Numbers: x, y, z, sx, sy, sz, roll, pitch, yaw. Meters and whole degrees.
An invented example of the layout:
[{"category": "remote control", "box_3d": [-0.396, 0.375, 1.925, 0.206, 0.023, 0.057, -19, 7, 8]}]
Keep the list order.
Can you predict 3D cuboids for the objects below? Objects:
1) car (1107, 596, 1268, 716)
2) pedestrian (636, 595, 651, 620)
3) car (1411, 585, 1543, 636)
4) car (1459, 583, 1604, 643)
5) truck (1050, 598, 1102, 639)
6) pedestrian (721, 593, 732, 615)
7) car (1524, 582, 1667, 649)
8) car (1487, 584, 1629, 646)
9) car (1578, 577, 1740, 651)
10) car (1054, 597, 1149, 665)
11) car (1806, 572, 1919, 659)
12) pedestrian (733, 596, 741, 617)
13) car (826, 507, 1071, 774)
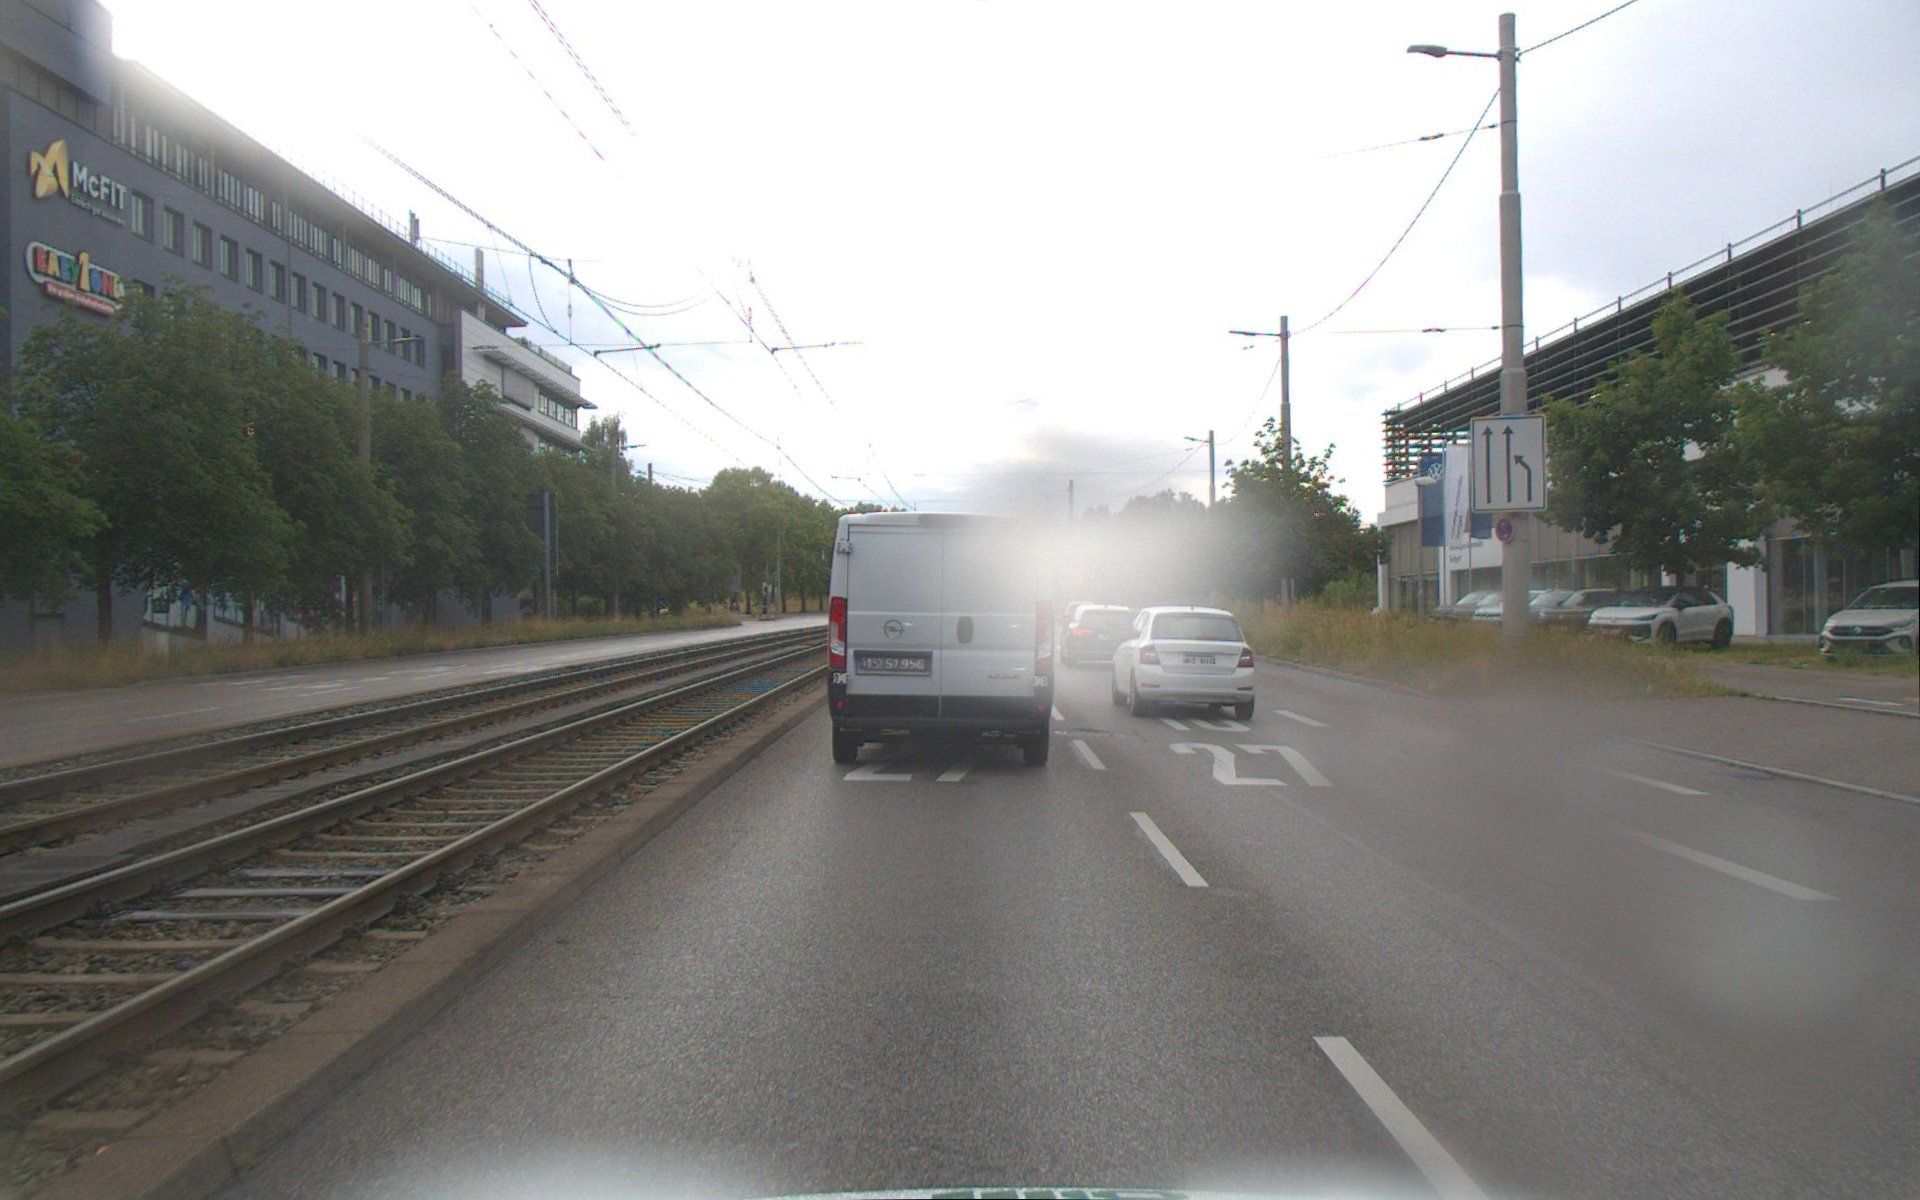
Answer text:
[{"category": "car", "box_3d": [3.111, 0.723, 23.250, 1.711, 1.483, 3.671, 2, 0, 0]}, {"category": "pedestrian", "box_3d": [-25.540, 0.593, 133.483, 0.868, 2.049, 0.946, -1, 0, 16]}, {"category": "car", "box_3d": [18.277, 0.361, 58.402, 4.563, 1.596, 1.833, -2, -1, -30]}, {"category": "car", "box_3d": [17.664, 0.389, 51.075, 4.296, 1.654, 1.838, -2, -1, -30]}, {"category": "truck", "box_3d": [5.405, 0.829, 77.705, 1.953, 1.822, 4.412, -1, 0, -2]}, {"category": "pedestrian", "box_3d": [-21.613, 0.383, 152.878, 0.868, 2.049, 0.866, -1, 0, 2]}, {"category": "car", "box_3d": [16.904, 0.400, 43.901, 4.153, 1.596, 1.772, -2, -1, -41]}, {"category": "car", "box_3d": [17.266, 0.412, 47.699, 4.142, 1.596, 1.777, -2, -1, -35]}, {"category": "car", "box_3d": [16.870, 0.332, 39.862, 4.056, 1.596, 1.776, -2, -1, -37]}, {"category": "car", "box_3d": [3.237, 0.689, 38.504, 1.753, 1.474, 3.998, 1, 0, -2]}, {"category": "car", "box_3d": [17.569, 0.234, 30.469, 4.050, 1.491, 1.728, -2, -1, -34]}, {"category": "pedestrian", "box_3d": [-20.281, 0.585, 150.418, 0.495, 1.818, 0.832, 2, 0, 6]}, {"category": "car", "box_3d": [-0.114, 0.327, 16.672, 2.048, 2.235, 5.060, 1, 0, 0]}]
